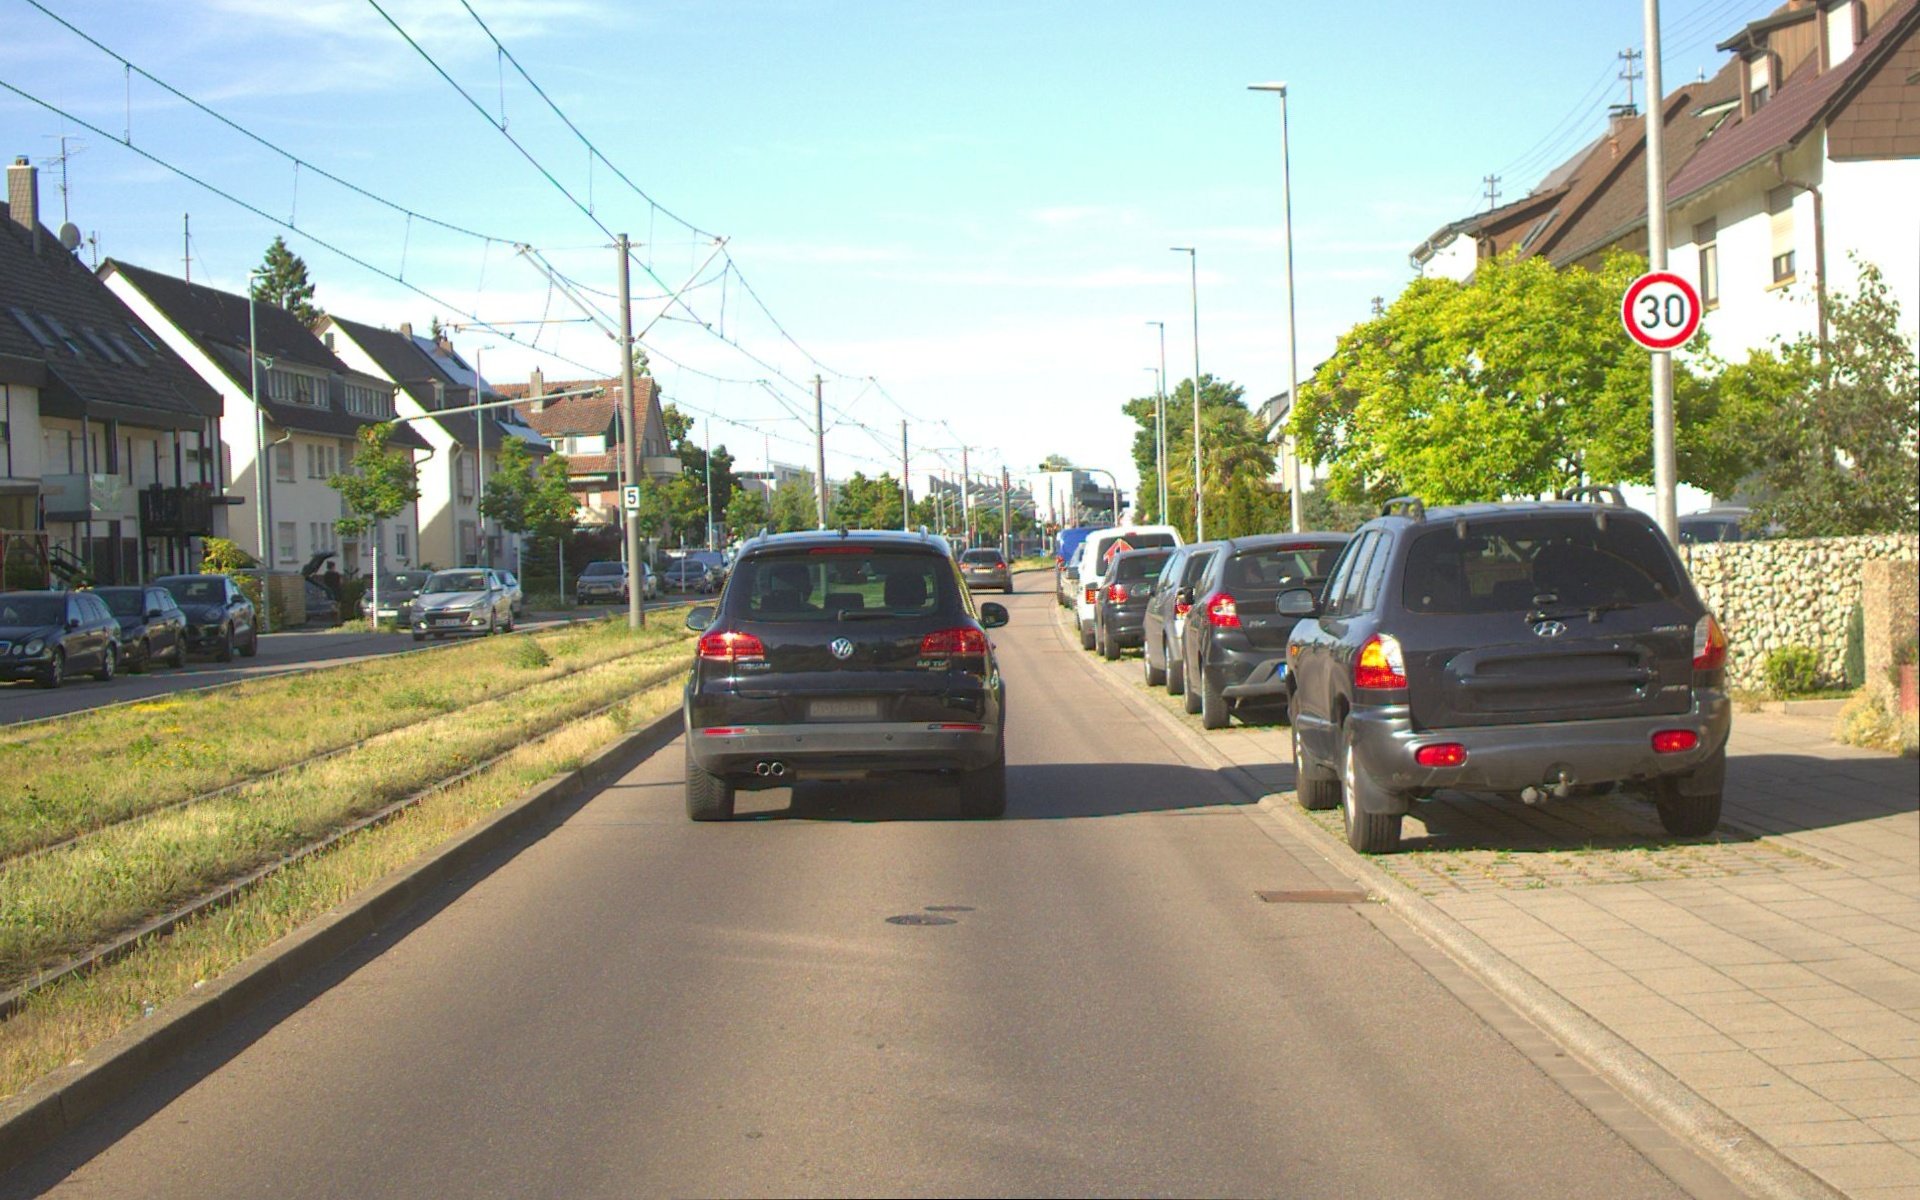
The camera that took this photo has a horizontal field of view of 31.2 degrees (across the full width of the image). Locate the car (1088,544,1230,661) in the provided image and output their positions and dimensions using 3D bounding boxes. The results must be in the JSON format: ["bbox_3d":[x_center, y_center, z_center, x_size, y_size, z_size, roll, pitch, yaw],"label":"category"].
[{"bbox_3d":[2.640,0.015,46.368,1.671,1.448,4.126,-2,0,1],"label":"car"}]

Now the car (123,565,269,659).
[{"bbox_3d":[-14.215,0.186,64.192,1.802,1.591,4.813,-2,1,-3],"label":"car"}]

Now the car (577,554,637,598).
[{"bbox_3d":[-12.455,-0.862,121.486,1.659,1.491,3.579,-2,1,1],"label":"car"}]

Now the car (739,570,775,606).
[{"bbox_3d":[-9.834,-0.599,166.595,1.465,1.671,3.287,-2,0,1],"label":"car"}]

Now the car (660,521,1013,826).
[{"bbox_3d":[-0.858,0.389,20.989,1.811,1.665,4.258,0,0,-7],"label":"car"}]

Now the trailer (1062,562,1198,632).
[{"bbox_3d":[3.058,-0.080,62.747,2.204,1.090,4.372,-3,1,0],"label":"trailer"}]

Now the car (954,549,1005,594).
[{"bbox_3d":[0.635,-0.933,110.650,1.572,1.386,3.614,-2,1,1],"label":"car"}]

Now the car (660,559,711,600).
[{"bbox_3d":[-11.473,-0.862,143.840,1.660,1.575,4.000,-2,-1,1],"label":"car"}]

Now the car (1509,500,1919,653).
[{"bbox_3d":[8.062,-0.235,36.402,1.993,1.440,4.883,-3,1,-25],"label":"car"}]

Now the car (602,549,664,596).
[{"bbox_3d":[-12.136,-1.034,127.638,1.803,1.626,4.000,-2,1,1],"label":"car"}]

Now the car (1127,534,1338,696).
[{"bbox_3d":[2.672,0.120,34.564,1.615,1.470,4.450,-2,0,-1],"label":"car"}]

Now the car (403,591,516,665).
[{"bbox_3d":[-10.712,0.607,73.793,1.708,1.485,4.024,-2,-1,1],"label":"car"}]

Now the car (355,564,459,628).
[{"bbox_3d":[-13.755,-0.122,85.621,1.619,1.448,3.717,-2,1,5],"label":"car"}]

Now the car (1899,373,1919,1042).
[{"bbox_3d":[2.797,0.495,4.023,1.961,1.830,4.927,-2,1,0],"label":"car"}]

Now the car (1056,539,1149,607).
[{"bbox_3d":[3.267,-0.641,79.482,1.786,1.436,4.459,-3,1,-1],"label":"car"}]

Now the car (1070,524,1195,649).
[{"bbox_3d":[2.594,-0.235,52.556,1.690,1.770,4.655,-2,1,1],"label":"car"}]

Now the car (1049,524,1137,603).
[{"bbox_3d":[3.288,-0.930,85.853,1.993,1.855,4.917,-2,1,1],"label":"car"}]

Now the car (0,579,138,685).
[{"bbox_3d":[-14.386,0.468,53.237,1.877,1.517,4.880,-1,1,3],"label":"car"}]

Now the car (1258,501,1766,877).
[{"bbox_3d":[2.721,0.371,17.971,1.854,1.653,4.473,-2,1,0],"label":"car"}]

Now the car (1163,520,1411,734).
[{"bbox_3d":[2.640,0.179,28.503,1.666,1.542,3.835,-4,1,1],"label":"car"}]

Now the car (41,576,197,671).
[{"bbox_3d":[-14.300,0.369,58.673,1.520,1.470,4.201,-2,1,1],"label":"car"}]

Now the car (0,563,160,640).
[{"bbox_3d":[-20.488,0.045,78.171,4.165,1.611,1.760,-2,1,-3],"label":"car"}]
